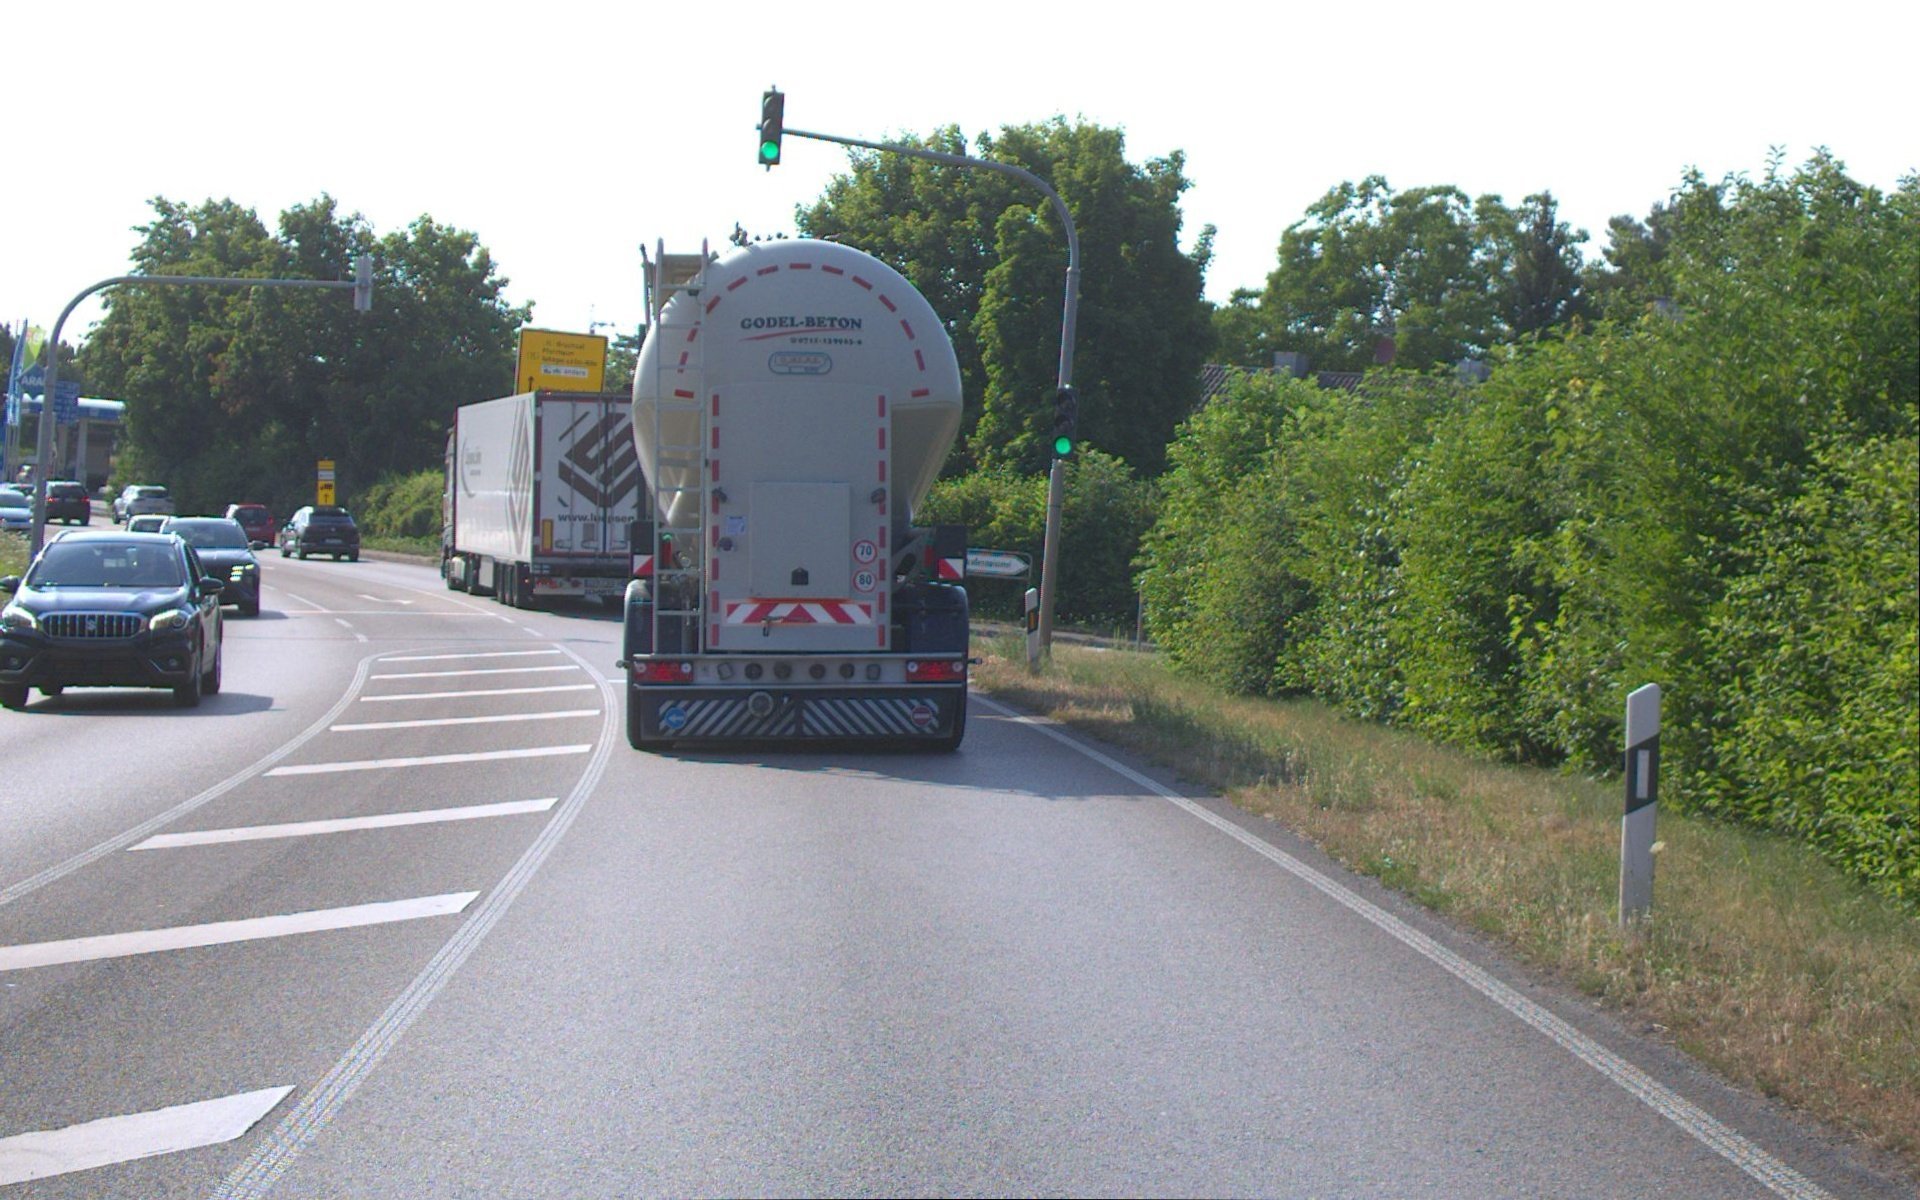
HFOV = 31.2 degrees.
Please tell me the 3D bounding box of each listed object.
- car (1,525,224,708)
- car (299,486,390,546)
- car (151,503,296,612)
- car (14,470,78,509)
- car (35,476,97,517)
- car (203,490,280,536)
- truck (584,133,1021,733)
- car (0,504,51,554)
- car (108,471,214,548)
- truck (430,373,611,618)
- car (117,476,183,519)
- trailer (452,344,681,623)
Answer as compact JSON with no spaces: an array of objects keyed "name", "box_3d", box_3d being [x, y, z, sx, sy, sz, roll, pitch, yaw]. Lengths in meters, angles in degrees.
[{"name":"car","box_3d":[-7.809,0.137,31.962,1.694,1.547,4.153,2,0,-10]},{"name":"car","box_3d":[-18.397,-2.483,102.623,1.993,1.650,4.001,2,0,-20]},{"name":"car","box_3d":[-12.688,-0.771,59.429,1.993,1.719,4.427,2,2,-7]},{"name":"car","box_3d":[-39.460,-4.777,148.366,2.084,1.594,4.001,2,1,-23]},{"name":"car","box_3d":[-36.465,-4.237,140.181,1.881,1.594,4.001,2,1,-22]},{"name":"car","box_3d":[-24.747,-2.986,118.293,1.683,1.463,4.001,2,0,-25]},{"name":"truck","box_3d":[-1.603,-1.191,30.304,2.975,4.161,11.664,2,0,-5]},{"name":"car","box_3d":[-32.017,-2.420,116.084,1.881,1.594,4.001,2,1,-24]},{"name":"car","box_3d":[-18.704,-2.092,80.353,1.840,1.650,4.001,2,0,-21]},{"name":"truck","box_3d":[-9.437,-2.144,73.223,2.962,4.870,6.432,2,0,-14]},{"name":"car","box_3d":[-33.522,-4.235,142.241,1.841,1.650,4.001,2,0,-25]},{"name":"trailer","box_3d":[-7.751,-2.107,66.342,2.963,4.865,10.291,2,0,-14]}]
